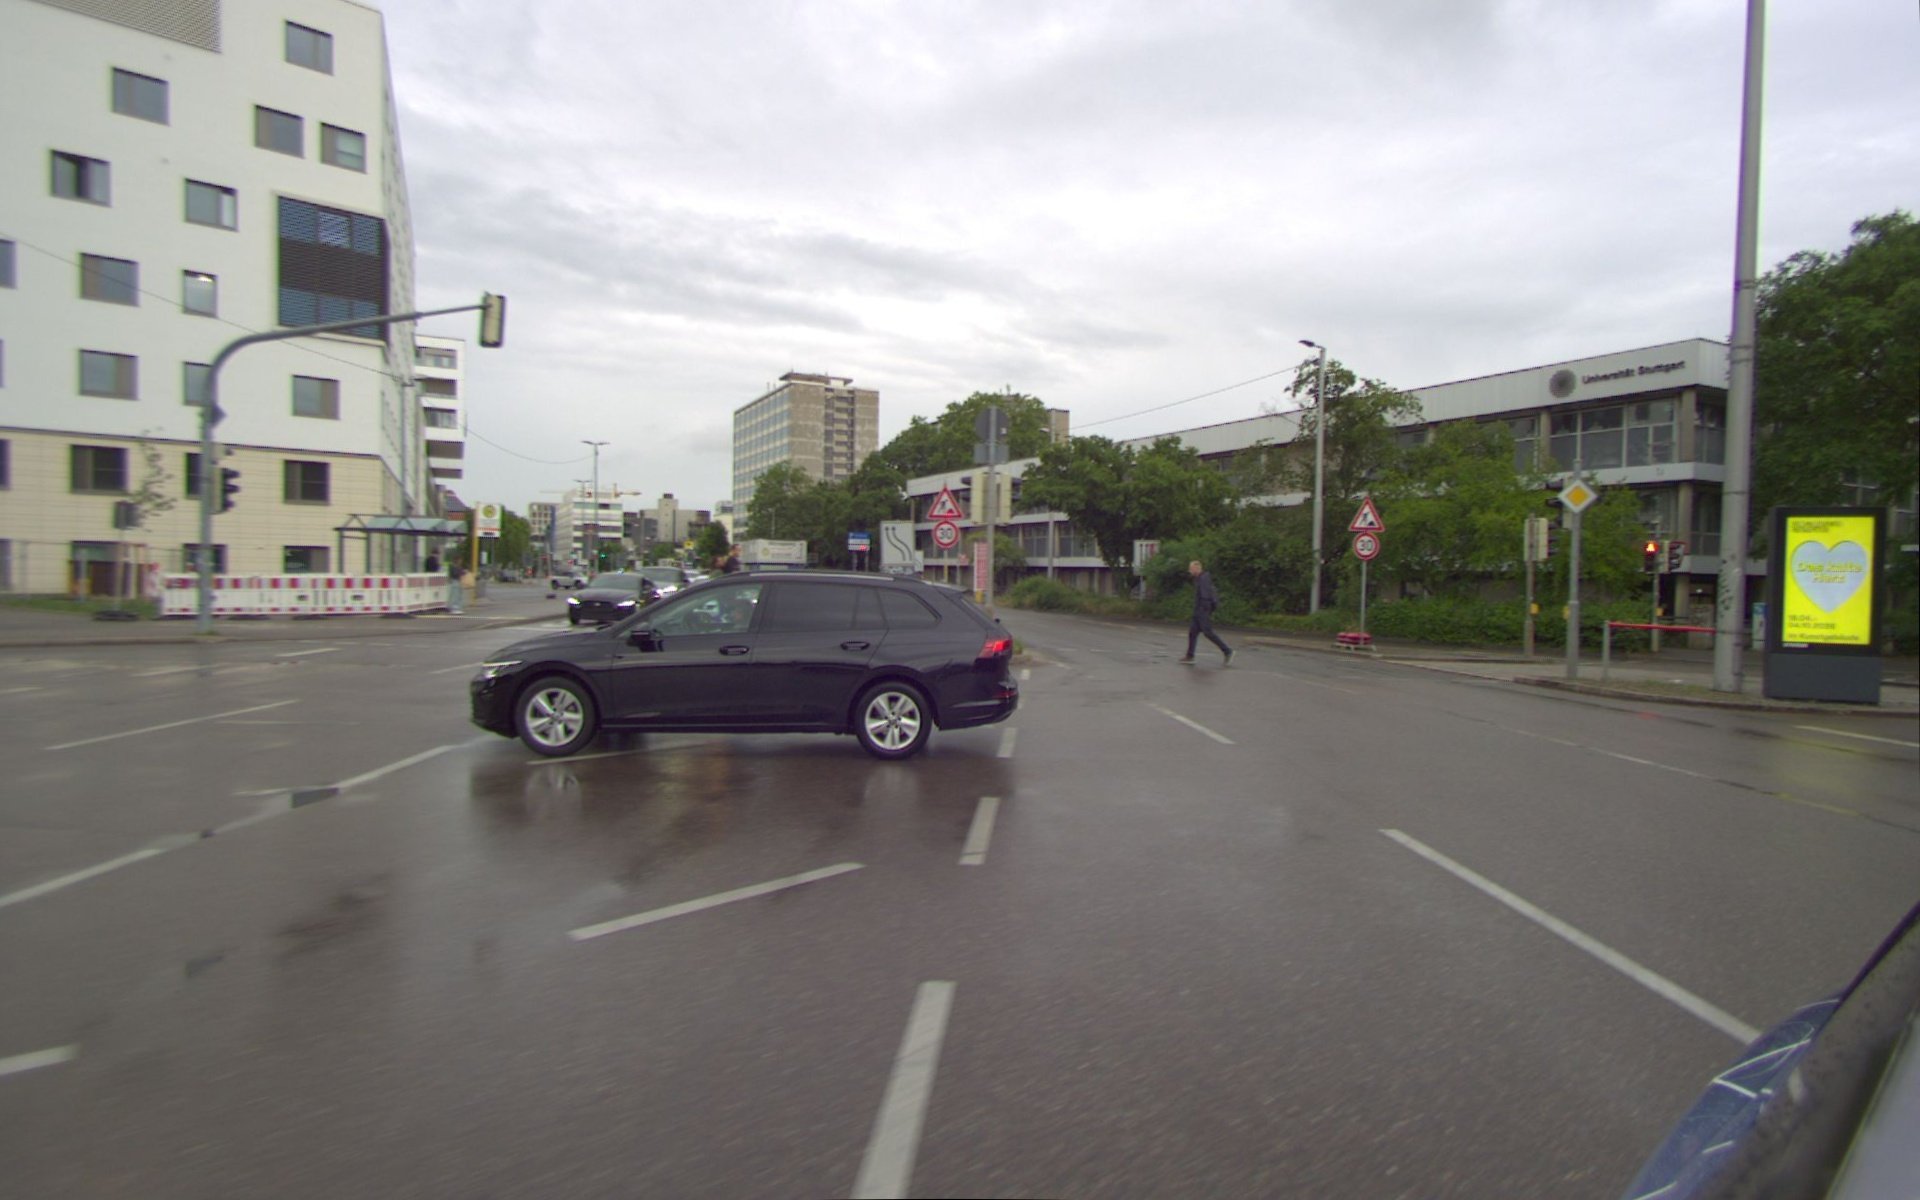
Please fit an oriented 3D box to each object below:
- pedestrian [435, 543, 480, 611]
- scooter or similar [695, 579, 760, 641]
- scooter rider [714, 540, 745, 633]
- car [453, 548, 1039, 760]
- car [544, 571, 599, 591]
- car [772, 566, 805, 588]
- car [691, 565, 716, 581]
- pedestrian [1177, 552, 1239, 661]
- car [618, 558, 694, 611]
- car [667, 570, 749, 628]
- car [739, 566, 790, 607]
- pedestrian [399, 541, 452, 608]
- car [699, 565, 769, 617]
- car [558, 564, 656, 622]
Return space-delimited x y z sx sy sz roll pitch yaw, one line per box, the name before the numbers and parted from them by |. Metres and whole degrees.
pedestrian | -13.998 -0.622 28.212 0.807 1.863 0.955 0 -1 -4
scooter or similar | -4.827 0.206 21.005 1.286 1.254 0.594 0 -1 -14
scooter rider | -4.780 -0.272 21.008 0.618 1.907 0.727 0 -1 -13
car | -1.661 0.408 8.616 4.424 1.484 1.677 2 1 -2
car | -33.227 -1.645 86.552 4.003 1.577 1.958 1 -1 14
car | -16.409 -2.209 96.735 1.761 1.932 4.316 1 1 -27
car | -29.249 -3.059 115.273 1.761 1.727 4.696 1 1 -28
pedestrian | 4.487 0.114 18.375 0.814 1.916 1.028 0 -1 -3
car | -10.520 -0.538 35.283 1.959 1.685 4.395 1 1 -9
car | -6.970 -0.058 28.334 1.761 1.462 4.006 1 0 -7
car | -8.138 -0.534 41.846 1.926 1.556 4.167 1 0 -12
pedestrian | -15.817 -0.739 29.977 0.941 1.960 1.000 0 -1 17
car | -7.547 -0.347 34.200 1.926 1.576 4.537 1 1 -8
car | -9.821 -0.173 28.452 1.761 1.462 4.005 1 0 -7
